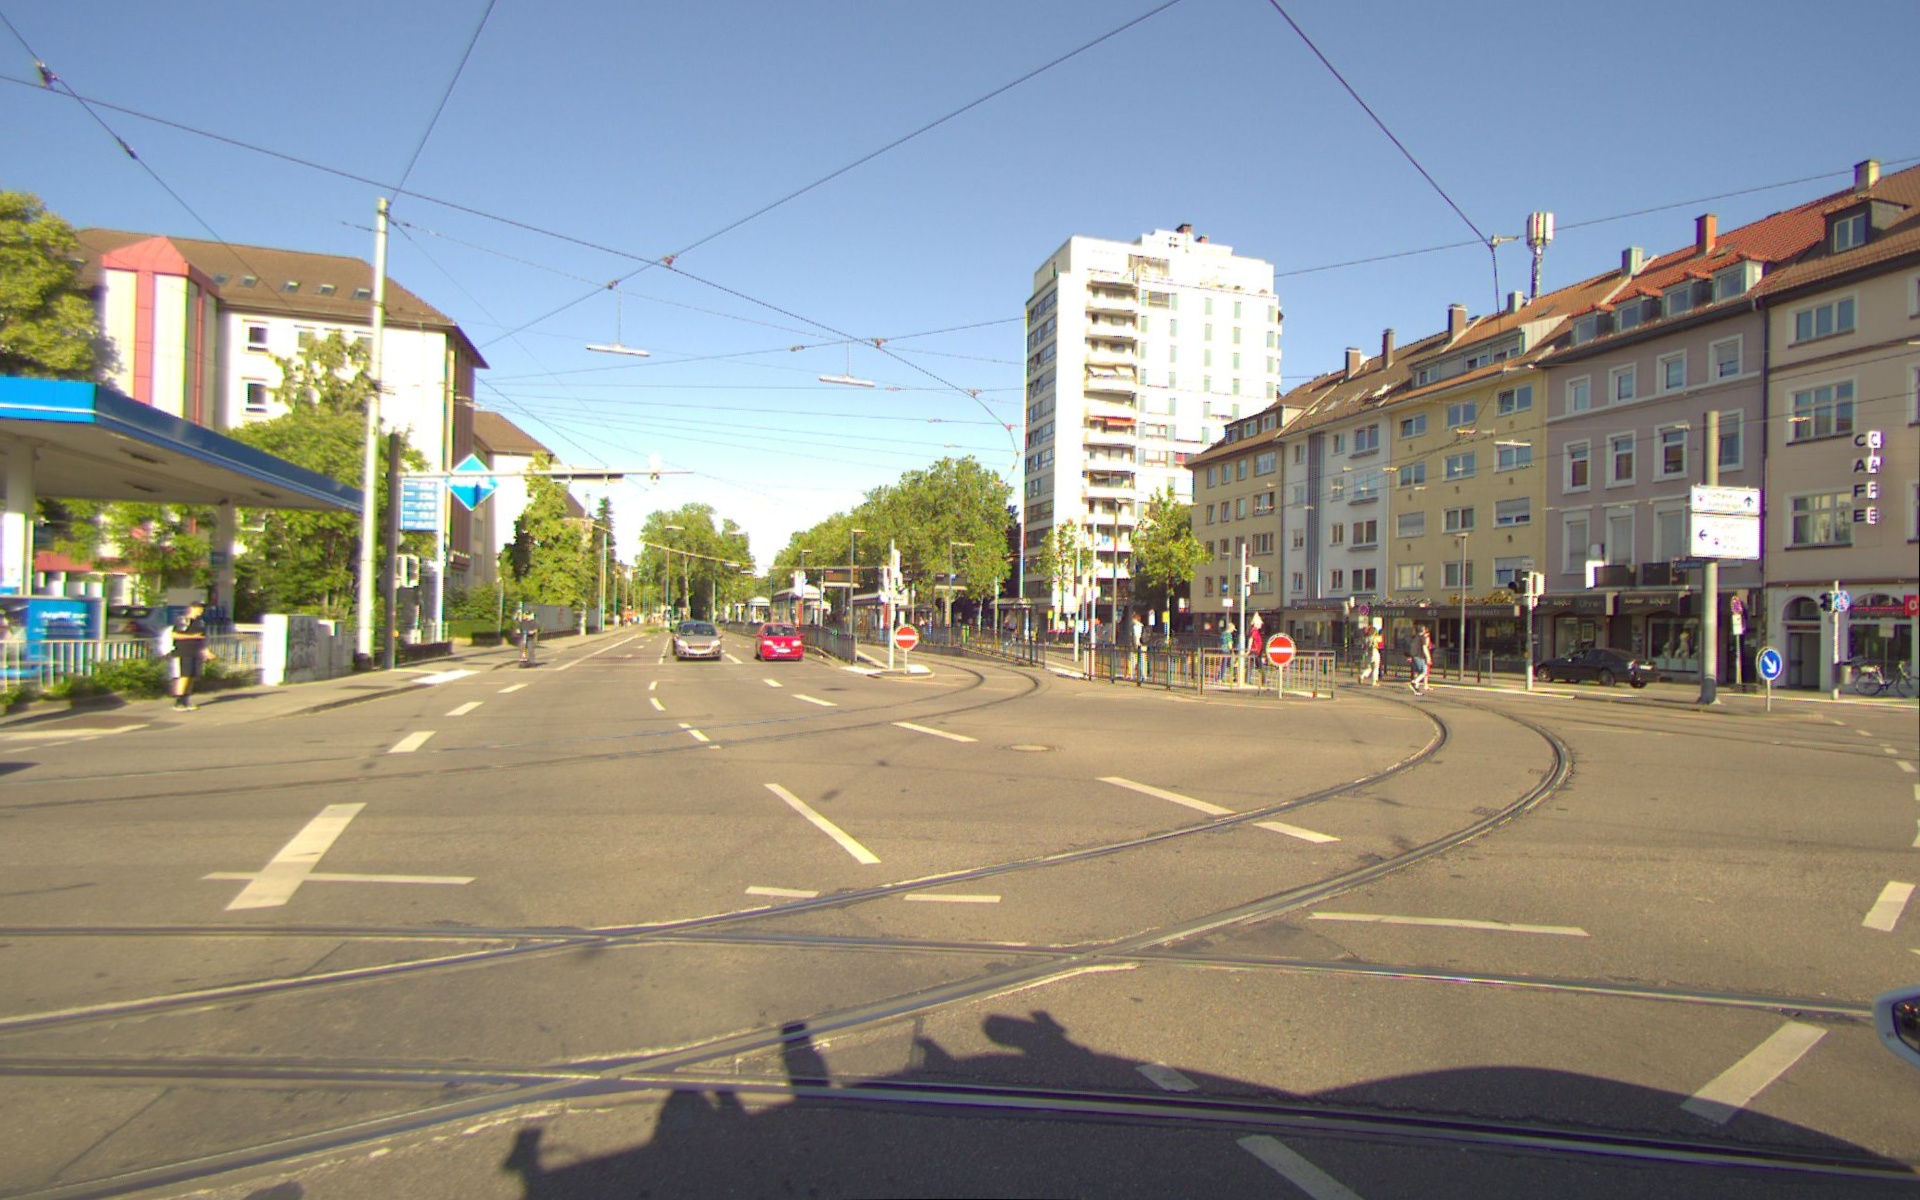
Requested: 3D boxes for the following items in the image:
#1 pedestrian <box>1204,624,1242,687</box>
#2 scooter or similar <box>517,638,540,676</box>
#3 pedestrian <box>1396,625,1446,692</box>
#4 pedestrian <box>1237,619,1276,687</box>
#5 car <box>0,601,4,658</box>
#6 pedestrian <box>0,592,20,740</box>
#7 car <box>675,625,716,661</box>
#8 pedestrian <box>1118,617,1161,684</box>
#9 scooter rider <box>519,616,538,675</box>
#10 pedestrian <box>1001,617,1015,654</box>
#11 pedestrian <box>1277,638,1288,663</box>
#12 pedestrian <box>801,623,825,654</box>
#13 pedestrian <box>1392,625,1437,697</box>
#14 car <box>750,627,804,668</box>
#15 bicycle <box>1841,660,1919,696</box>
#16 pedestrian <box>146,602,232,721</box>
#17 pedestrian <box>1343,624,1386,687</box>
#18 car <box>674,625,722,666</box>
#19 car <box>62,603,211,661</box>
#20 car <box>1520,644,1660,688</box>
[{"bbox_3d":[7.169,1.502,27.423,0.792,1.652,0.865,1,-1,1],"label":"pedestrian"},{"bbox_3d":[-14.242,1.862,33.167,0.457,1.198,1.472,1,-1,-15],"label":"scooter or similar"},{"bbox_3d":[12.371,1.555,26.971,0.891,1.756,0.837,1,-1,-19],"label":"pedestrian"},{"bbox_3d":[7.887,1.396,26.717,0.831,1.746,0.826,1,-1,6],"label":"pedestrian"},{"bbox_3d":[-25.865,0.728,24.657,1.689,1.505,4.205,1,-1,-16],"label":"car"},{"bbox_3d":[-12.153,0.801,12.203,0.726,1.825,0.743,1,-1,8],"label":"pedestrian"},{"bbox_3d":[-12.098,1.926,45.968,1.713,1.539,3.988,1,-1,-15],"label":"car"},{"bbox_3d":[4.837,1.357,27.050,0.784,1.756,0.813,2,-1,-44],"label":"pedestrian"},{"bbox_3d":[-14.239,1.491,33.160,0.457,1.926,0.690,1,-1,-15],"label":"scooter rider"},{"bbox_3d":[2.117,1.560,44.305,0.584,1.589,0.732,1,-1,5],"label":"pedestrian"},{"bbox_3d":[21.043,3.301,65.522,0.499,1.582,0.464,2,-1,-13],"label":"pedestrian"},{"bbox_3d":[-7.045,1.850,48.101,1.029,1.439,0.575,1,-1,-21],"label":"pedestrian"},{"bbox_3d":[11.334,1.505,25.054,0.791,1.756,0.650,1,-1,-26],"label":"pedestrian"},{"bbox_3d":[-7.333,1.849,39.975,1.689,1.505,4.205,1,-1,-16],"label":"car"},{"bbox_3d":[30.378,2.555,33.116,0.575,1.081,1.939,1,-1,-22],"label":"bicycle"},{"bbox_3d":[-11.732,0.920,15.306,0.719,1.752,0.748,1,1,-1],"label":"pedestrian"},{"bbox_3d":[11.431,1.562,28.397,0.810,1.756,0.786,1,-1,-15],"label":"pedestrian"},{"bbox_3d":[-10.370,1.767,39.811,1.713,1.539,3.988,1,-1,-15],"label":"car"},{"bbox_3d":[-23.203,0.885,28.496,1.689,1.505,4.205,1,-1,-16],"label":"car"},{"bbox_3d":[24.708,2.562,39.595,1.717,1.459,4.636,2,-1,-18],"label":"car"}]
